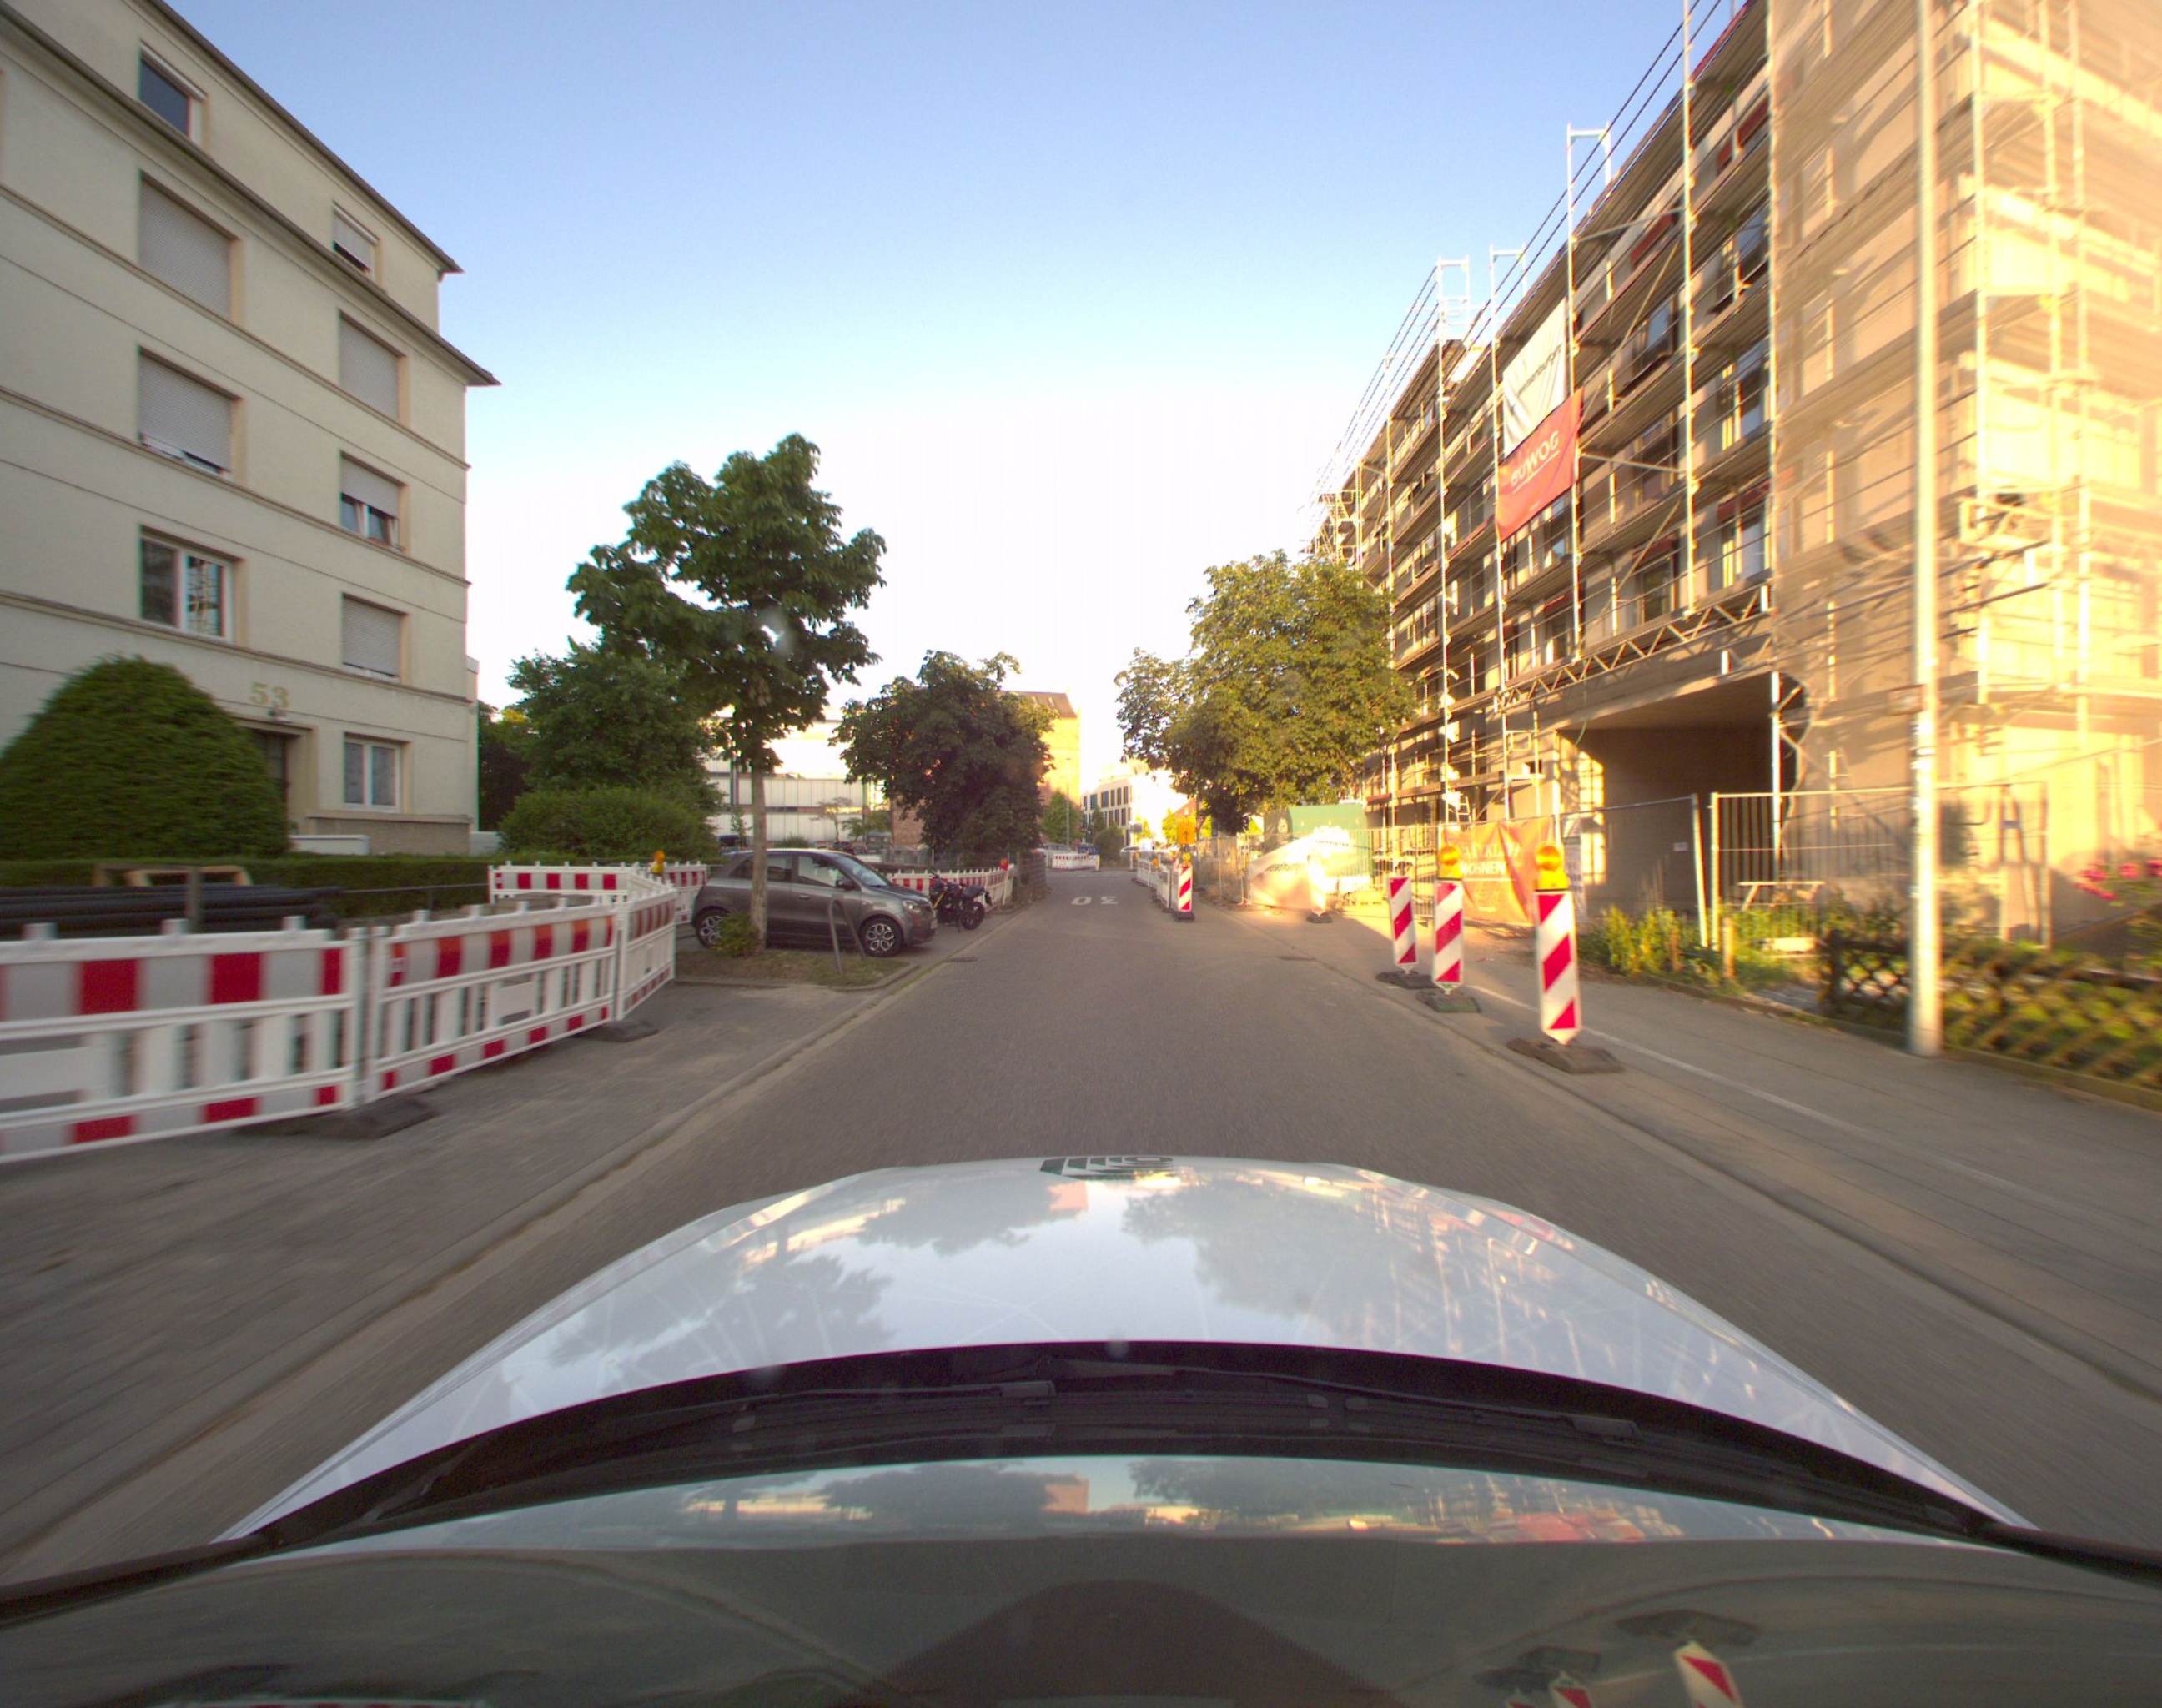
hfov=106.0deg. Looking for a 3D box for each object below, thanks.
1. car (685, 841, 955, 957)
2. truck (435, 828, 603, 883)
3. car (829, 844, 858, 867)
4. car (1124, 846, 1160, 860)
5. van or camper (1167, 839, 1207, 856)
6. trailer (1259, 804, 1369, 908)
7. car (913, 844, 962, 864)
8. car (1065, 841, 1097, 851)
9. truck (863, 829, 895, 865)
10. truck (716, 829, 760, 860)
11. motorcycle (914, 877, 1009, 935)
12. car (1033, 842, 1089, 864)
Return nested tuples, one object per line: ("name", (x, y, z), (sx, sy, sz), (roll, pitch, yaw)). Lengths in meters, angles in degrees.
("car", (-3.978, 0.660, 12.838), (3.610, 1.557, 1.694), (2, 0, 1))
("truck", (-26.004, 0.018, 37.975), (6.048, 2.422, 2.094), (-1, 1, -21))
("car", (-18.274, 0.068, 62.536), (1.999, 1.692, 3.976), (-1, 1, -18))
("car", (6.923, -0.112, 92.666), (3.752, 1.603, 1.676), (-1, 0, -20))
("van or camper", (14.054, -0.892, 107.941), (4.978, 2.240, 1.676), (-1, 0, -20))
("trailer", (6.190, 0.038, 22.158), (1.985, 2.539, 4.189), (-1, 0, 3))
("car", (-11.149, 0.009, 63.113), (3.637, 1.503, 1.629), (-1, 0, -15))
("car", (0.038, -1.054, 111.148), (3.996, 1.313, 1.867), (-1, 0, -17))
("truck", (-15.758, -0.557, 63.406), (2.338, 2.616, 4.948), (-1, 1, -15))
("truck", (-24.916, -0.676, 59.314), (2.107, 2.090, 4.494), (-1, 0, -12))
("motorcycle", (-2.336, 0.992, 16.220), (0.532, 1.021, 2.225), (2, 0, 31))
("car", (-1.614, -0.082, 65.568), (4.279, 1.708, 1.693), (-1, 0, -17))
